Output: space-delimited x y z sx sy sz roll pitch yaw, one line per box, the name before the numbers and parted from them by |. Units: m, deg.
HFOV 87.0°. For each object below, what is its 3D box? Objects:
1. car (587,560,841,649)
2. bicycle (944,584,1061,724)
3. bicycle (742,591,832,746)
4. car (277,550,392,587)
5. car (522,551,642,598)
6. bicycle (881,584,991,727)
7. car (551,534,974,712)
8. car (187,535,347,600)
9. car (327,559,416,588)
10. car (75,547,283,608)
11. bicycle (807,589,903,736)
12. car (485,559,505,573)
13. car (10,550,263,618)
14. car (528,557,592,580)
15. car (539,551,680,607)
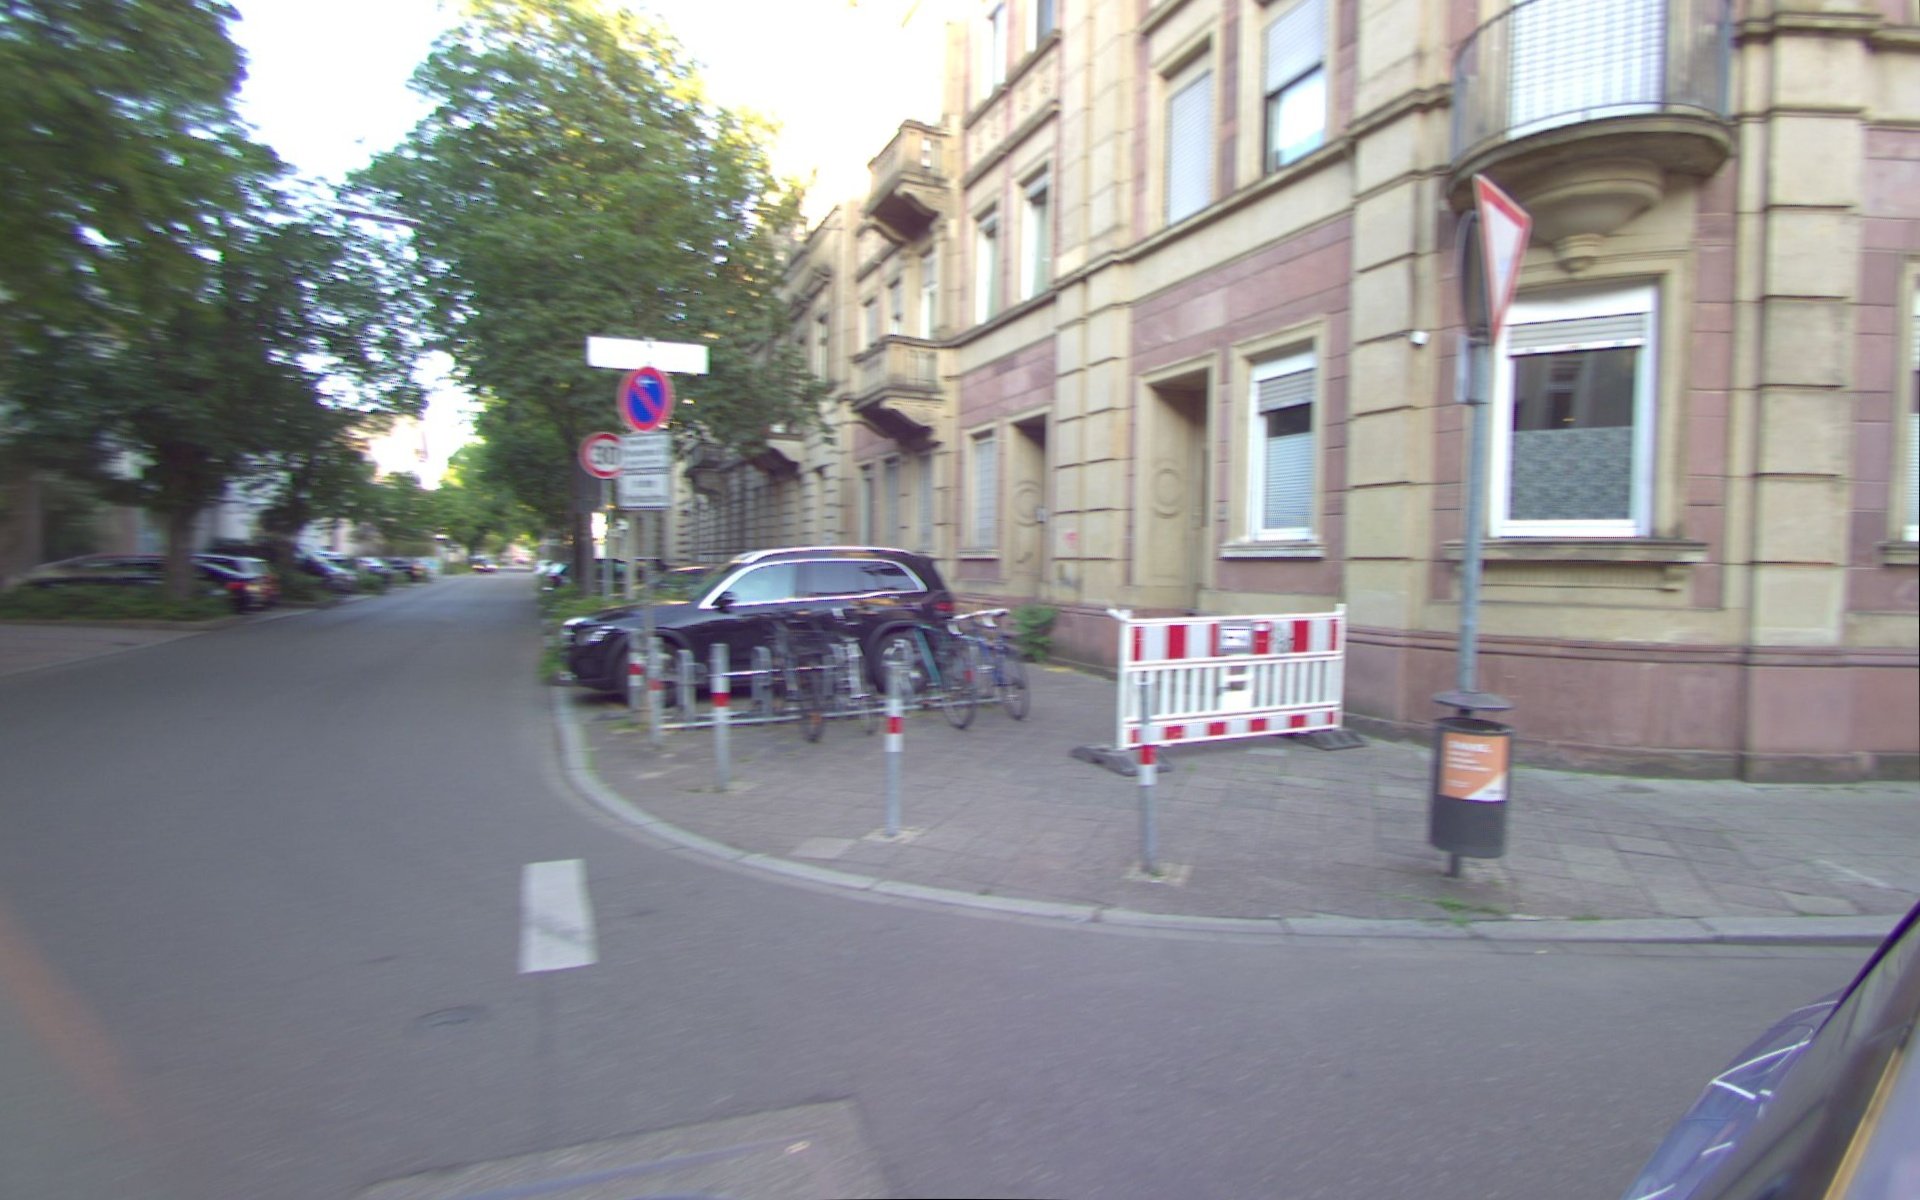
car | -4.560 0.056 18.716 4.353 1.506 1.780 0 2 -22
bicycle | 0.353 0.446 9.525 0.357 1.102 1.875 -1 4 -22
bicycle | -1.523 0.520 8.731 0.357 1.102 1.875 -1 4 -22
car | -29.319 -1.467 47.607 4.353 1.633 1.780 0 2 -22
car | -14.968 -0.992 40.165 4.353 1.760 1.780 0 2 -22
bicycle | -0.260 0.444 9.261 0.357 1.102 1.875 -1 4 -22
car | -2.257 0.128 11.656 4.496 1.759 1.781 -2 3 -22
car | -24.300 -1.116 35.661 4.353 2.149 1.780 0 1 -22
car | -34.920 -1.593 60.150 4.353 1.633 1.780 0 2 -22
car | -22.044 -0.632 28.768 4.353 1.633 1.780 0 2 -22
bicycle | -0.989 0.503 9.180 0.357 1.102 1.875 -1 4 -22
car | -48.973 -3.559 106.650 1.790 1.389 4.009 0 2 -23
car | -19.511 -0.371 24.235 4.353 1.524 1.780 0 2 -22
car | -29.767 -2.340 75.395 4.353 1.668 1.780 0 2 -22
car | -11.722 -0.699 33.889 4.353 1.760 1.780 0 2 -22
